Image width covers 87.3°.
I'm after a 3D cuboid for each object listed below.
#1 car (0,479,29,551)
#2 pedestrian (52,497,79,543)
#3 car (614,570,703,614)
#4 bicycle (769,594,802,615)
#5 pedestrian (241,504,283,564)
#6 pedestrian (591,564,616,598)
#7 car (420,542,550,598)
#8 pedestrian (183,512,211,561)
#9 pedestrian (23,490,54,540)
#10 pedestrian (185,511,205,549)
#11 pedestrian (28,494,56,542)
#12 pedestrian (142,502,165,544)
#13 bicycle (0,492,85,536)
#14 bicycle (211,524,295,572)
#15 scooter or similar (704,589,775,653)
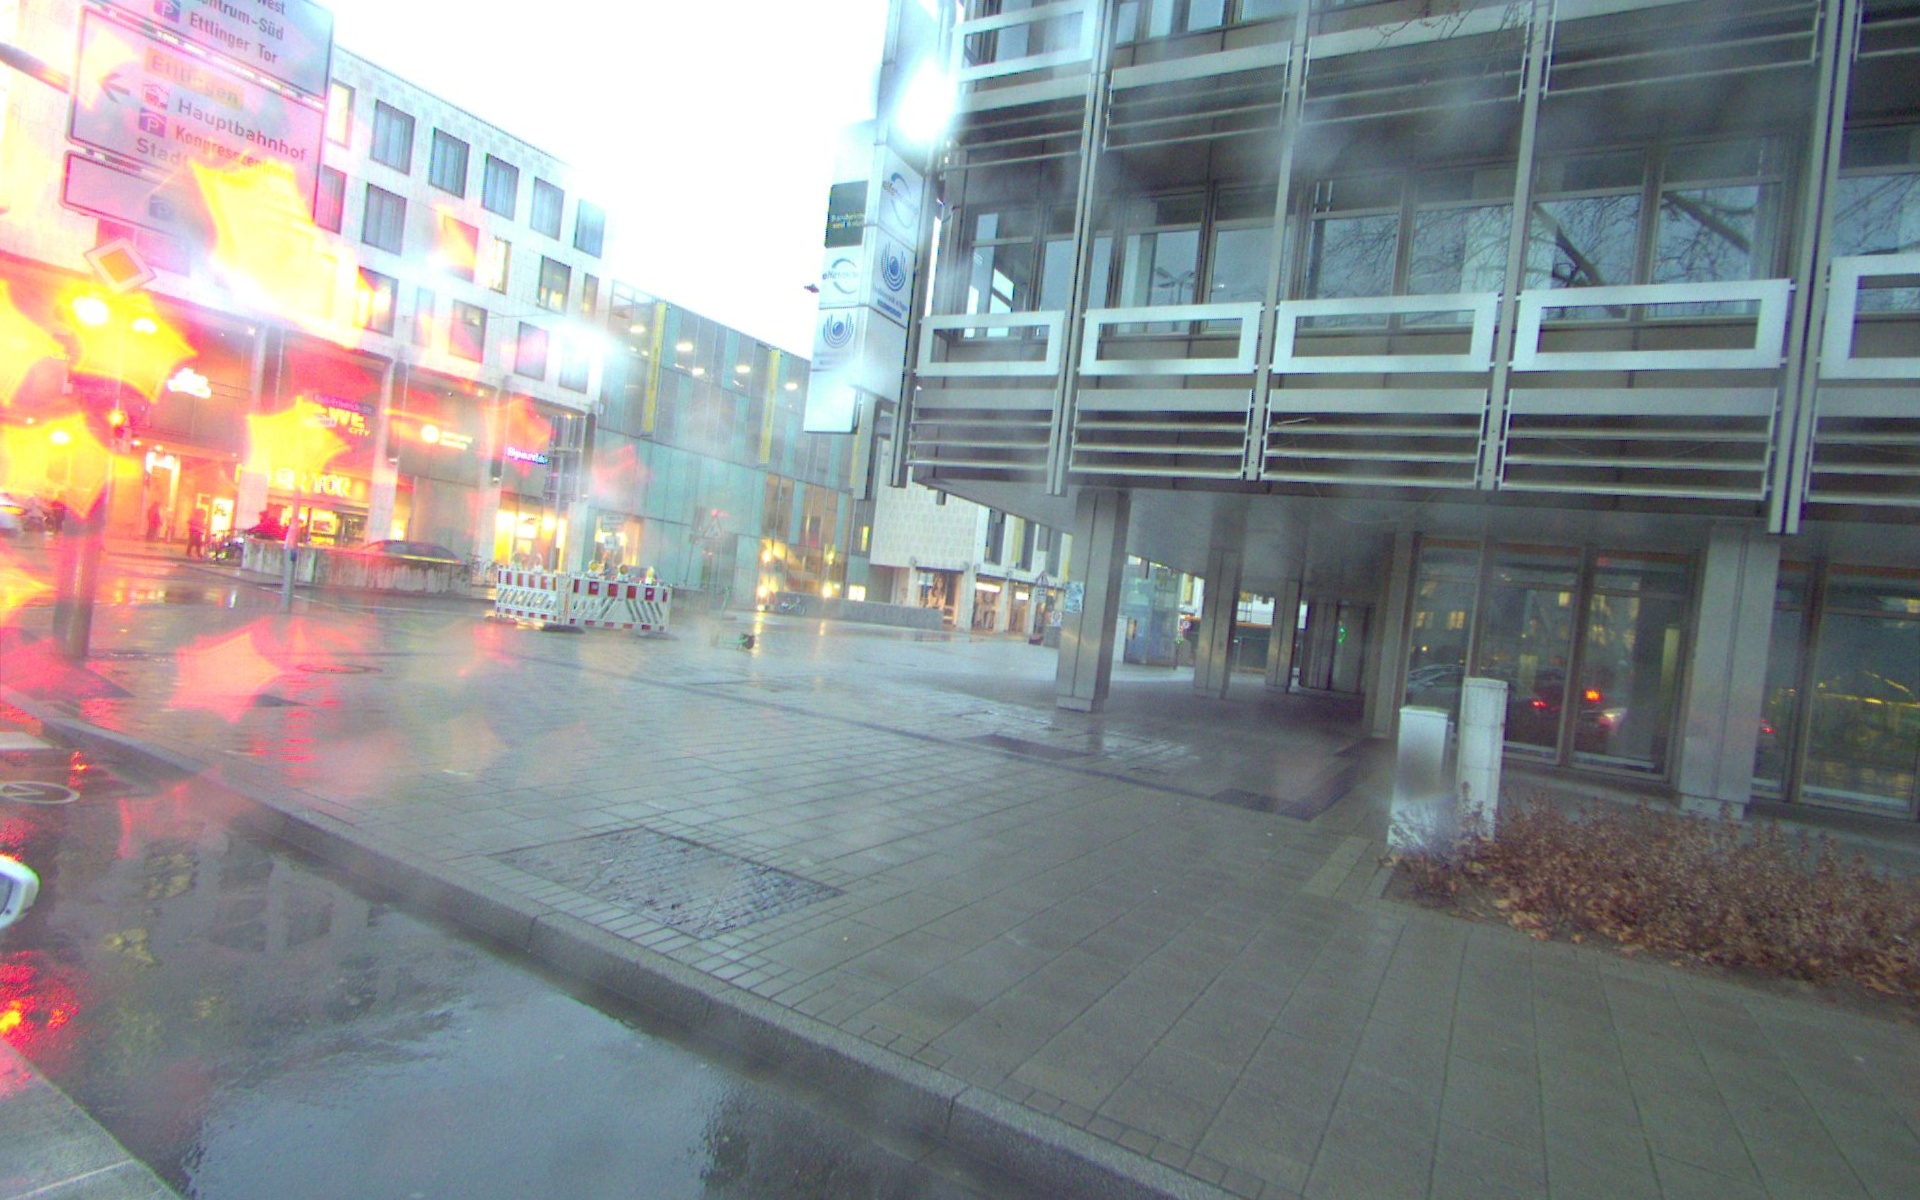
[{"bbox_3d":[-26.050,-2.394,24.707,1.679,1.783,4.306,7,0,34],"label":"car"},{"bbox_3d":[-35.099,-3.138,39.465,0.529,1.739,0.500,6,1,-21],"label":"pedestrian"},{"bbox_3d":[-13.412,-0.343,44.952,1.648,1.601,3.575,6,-1,29],"label":"car"},{"bbox_3d":[-10.735,0.250,61.859,2.101,1.046,0.616,6,0,33],"label":"bicycle"},{"bbox_3d":[-20.148,-1.893,29.039,0.778,1.615,0.605,6,1,-43],"label":"pedestrian"},{"bbox_3d":[-18.344,-0.971,51.761,0.697,1.650,0.795,6,-1,31],"label":"pedestrian"},{"bbox_3d":[-17.513,-1.088,37.291,1.648,1.601,4.056,6,-1,29],"label":"car"},{"bbox_3d":[-27.538,-2.283,36.319,0.529,1.706,0.546,6,1,-21],"label":"pedestrian"},{"bbox_3d":[-34.510,-3.172,37.686,0.474,1.782,0.618,7,1,31],"label":"pedestrian"},{"bbox_3d":[-36.698,-3.352,48.266,0.529,1.739,0.500,6,1,-21],"label":"pedestrian"},{"bbox_3d":[-35.492,-3.160,38.914,0.529,1.739,0.500,6,1,-21],"label":"pedestrian"},{"bbox_3d":[-35.354,-3.364,44.101,0.529,1.739,0.500,6,1,-21],"label":"pedestrian"},{"bbox_3d":[-35.940,-3.354,39.359,0.623,1.345,2.431,7,0,26],"label":"bicycle"},{"bbox_3d":[-20.309,-1.484,28.932,1.839,1.107,0.610,7,0,-44],"label":"bicycle"},{"bbox_3d":[-4.429,0.421,20.213,1.215,1.144,0.606,7,0,32],"label":"scooter or similar"}]
